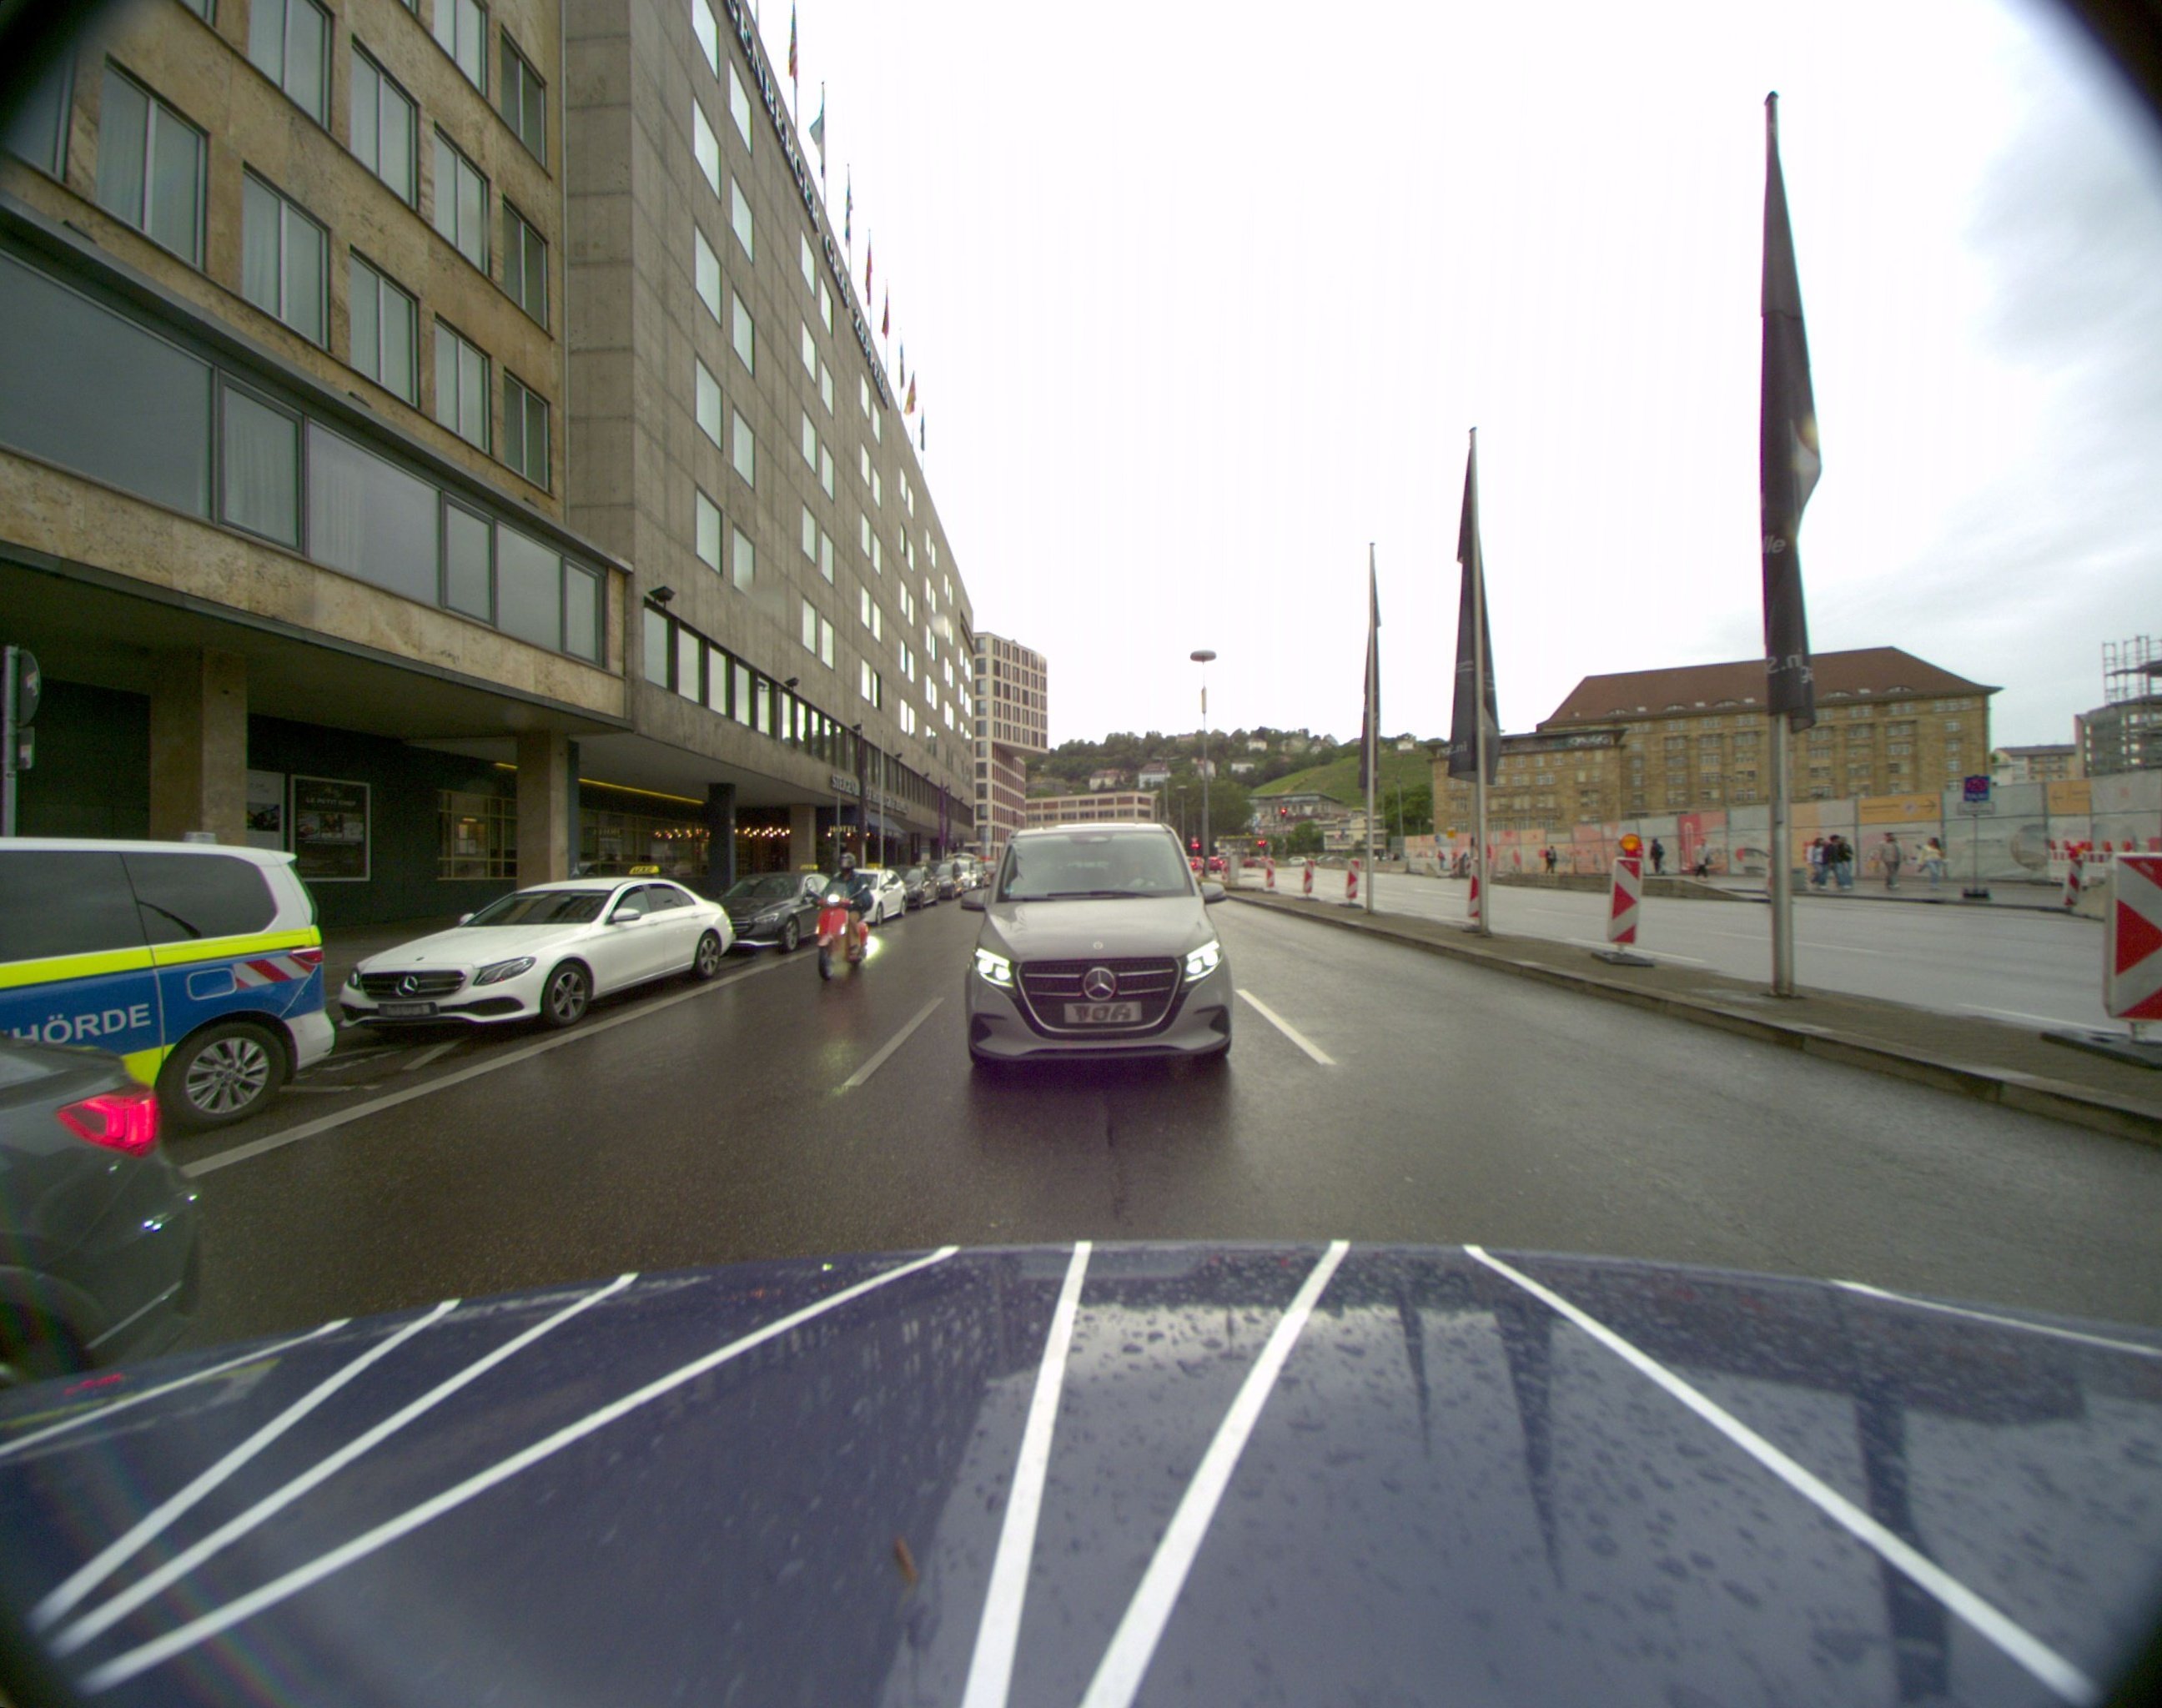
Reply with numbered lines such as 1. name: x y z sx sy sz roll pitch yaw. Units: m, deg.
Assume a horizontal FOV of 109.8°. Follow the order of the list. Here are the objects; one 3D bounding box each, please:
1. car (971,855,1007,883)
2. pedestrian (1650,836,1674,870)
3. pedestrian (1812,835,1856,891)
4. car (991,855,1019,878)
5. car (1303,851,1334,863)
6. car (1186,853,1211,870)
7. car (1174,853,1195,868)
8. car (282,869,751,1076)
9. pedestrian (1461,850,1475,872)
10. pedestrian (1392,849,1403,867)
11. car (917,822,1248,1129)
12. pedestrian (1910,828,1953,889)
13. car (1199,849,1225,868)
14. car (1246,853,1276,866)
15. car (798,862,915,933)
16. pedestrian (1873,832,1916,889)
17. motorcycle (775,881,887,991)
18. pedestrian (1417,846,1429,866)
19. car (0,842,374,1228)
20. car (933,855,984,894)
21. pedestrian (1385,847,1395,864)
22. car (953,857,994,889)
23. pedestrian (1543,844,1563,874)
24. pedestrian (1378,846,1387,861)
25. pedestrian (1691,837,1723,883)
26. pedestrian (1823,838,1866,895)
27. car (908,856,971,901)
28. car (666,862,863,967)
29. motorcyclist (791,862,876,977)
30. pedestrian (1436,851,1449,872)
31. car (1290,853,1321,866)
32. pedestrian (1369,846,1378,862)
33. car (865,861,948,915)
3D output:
1. car: -5.869 0.911 48.926 1.731 1.604 4.001 -2 1 0
2. pedestrian: 28.268 -0.068 36.991 0.715 1.606 0.544 -2 1 1
3. pedestrian: 23.737 0.270 23.967 0.714 1.723 0.718 -2 1 19
4. car: -5.900 0.961 59.246 1.731 1.604 4.001 -2 1 0
5. car: 32.716 0.424 104.871 3.993 1.622 2.002 -1 0 14
6. car: 12.182 0.777 79.003 1.785 1.684 3.916 -2 1 -1
7. car: 11.826 0.727 86.838 1.785 1.684 3.916 -2 1 -1
8. car: -6.091 1.101 9.245 1.879 1.628 5.010 -2 1 0
9. pedestrian: 28.383 0.511 55.702 0.715 1.606 0.544 -2 1 1
10. pedestrian: 28.682 0.336 68.760 0.715 1.606 0.544 -2 1 1
11. car: 0.049 0.743 7.324 1.998 1.849 5.160 -2 1 1
12. pedestrian: 25.888 0.128 23.138 0.661 1.825 0.556 -2 1 21
13. car: 12.420 0.433 72.291 1.785 1.684 3.916 -1 0 0
14. car: 24.648 0.756 104.106 3.993 1.622 2.002 -1 0 14
15. car: -6.040 1.091 21.057 1.731 1.583 4.814 -2 1 0
16. pedestrian: 25.289 0.211 23.634 0.714 1.734 0.564 -2 1 21
17. motorcycle: -3.470 1.089 10.757 0.848 1.299 1.965 -2 1 1
18. pedestrian: 28.016 0.199 62.246 0.715 1.606 0.544 -2 1 1
19. car: -6.322 0.936 3.243 1.879 1.909 4.935 -2 1 0
20. car: -6.087 0.955 38.239 1.731 1.732 4.814 -2 1 0
21. pedestrian: 30.103 0.162 73.921 0.715 1.606 0.544 -2 1 1
22. car: -6.122 1.063 43.747 1.731 1.604 4.001 -2 1 0
23. pedestrian: 26.118 0.263 42.017 0.715 1.606 0.544 -2 1 1
24. pedestrian: 31.337 -0.046 78.984 0.715 1.606 0.544 -2 1 11
25. pedestrian: 25.429 0.235 30.853 0.664 1.825 0.720 -2 1 1
26. pedestrian: 24.699 0.400 24.604 0.714 1.825 0.718 -2 1 19
27. car: -6.049 0.996 33.043 1.731 1.732 4.814 -2 1 0
28. car: -6.073 1.051 15.329 1.879 1.628 4.814 -2 1 0
29. motorcyclist: -3.480 0.904 10.761 0.861 1.519 0.844 -2 1 1
30. pedestrian: 28.184 0.555 59.261 0.715 1.606 0.544 -2 1 1
31. car: 34.714 0.811 117.632 4.194 1.846 1.832 -2 1 6
32. pedestrian: 30.471 0.013 79.156 0.715 1.606 0.544 -2 1 11
33. car: -6.042 1.120 26.871 1.731 1.583 4.814 -2 1 0
